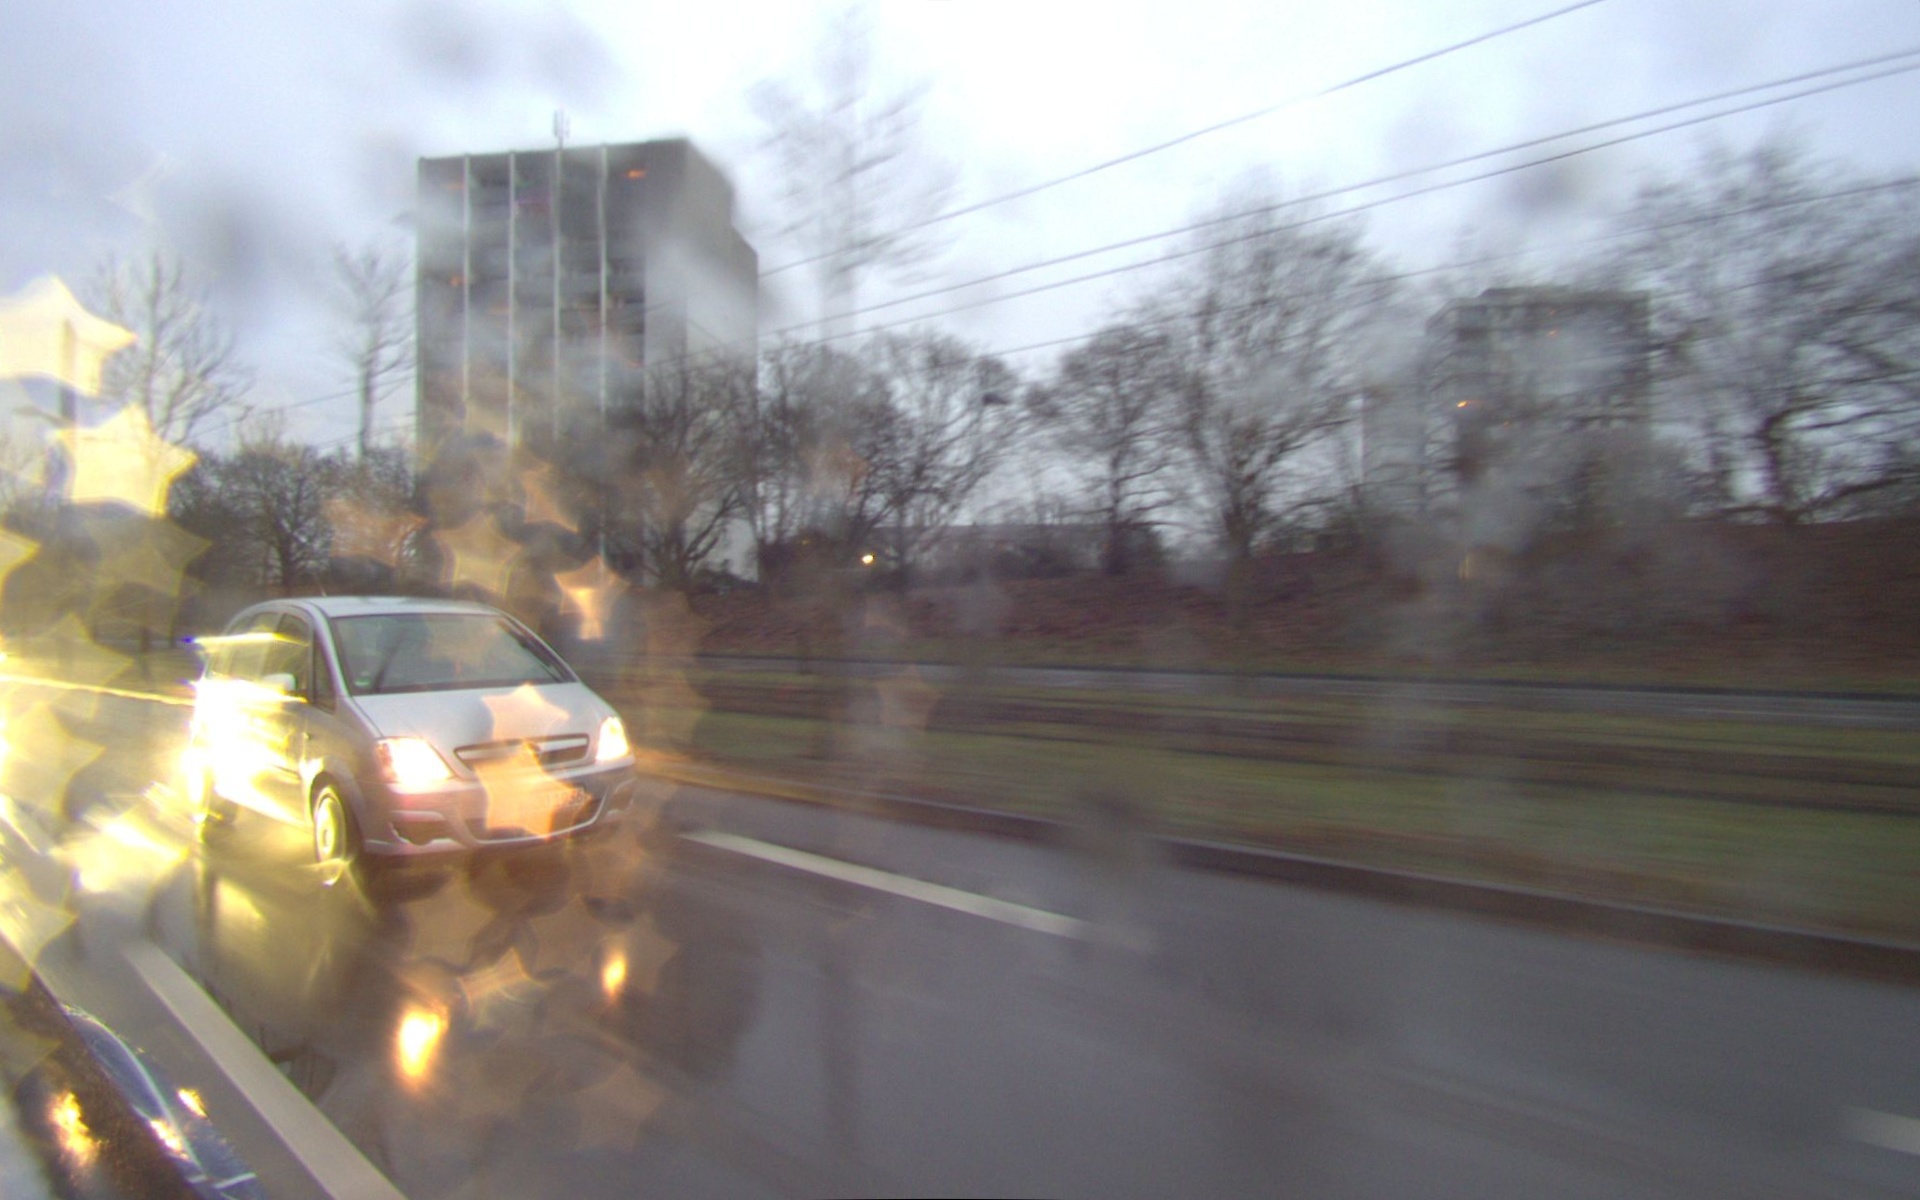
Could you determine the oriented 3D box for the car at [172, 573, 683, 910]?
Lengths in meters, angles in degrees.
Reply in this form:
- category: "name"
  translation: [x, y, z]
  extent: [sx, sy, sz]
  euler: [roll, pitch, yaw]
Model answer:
- category: "car"
  translation: [-3.680, 0.673, 6.683]
  extent: [3.920, 1.587, 1.648]
  euler: [-1, 0, 41]
